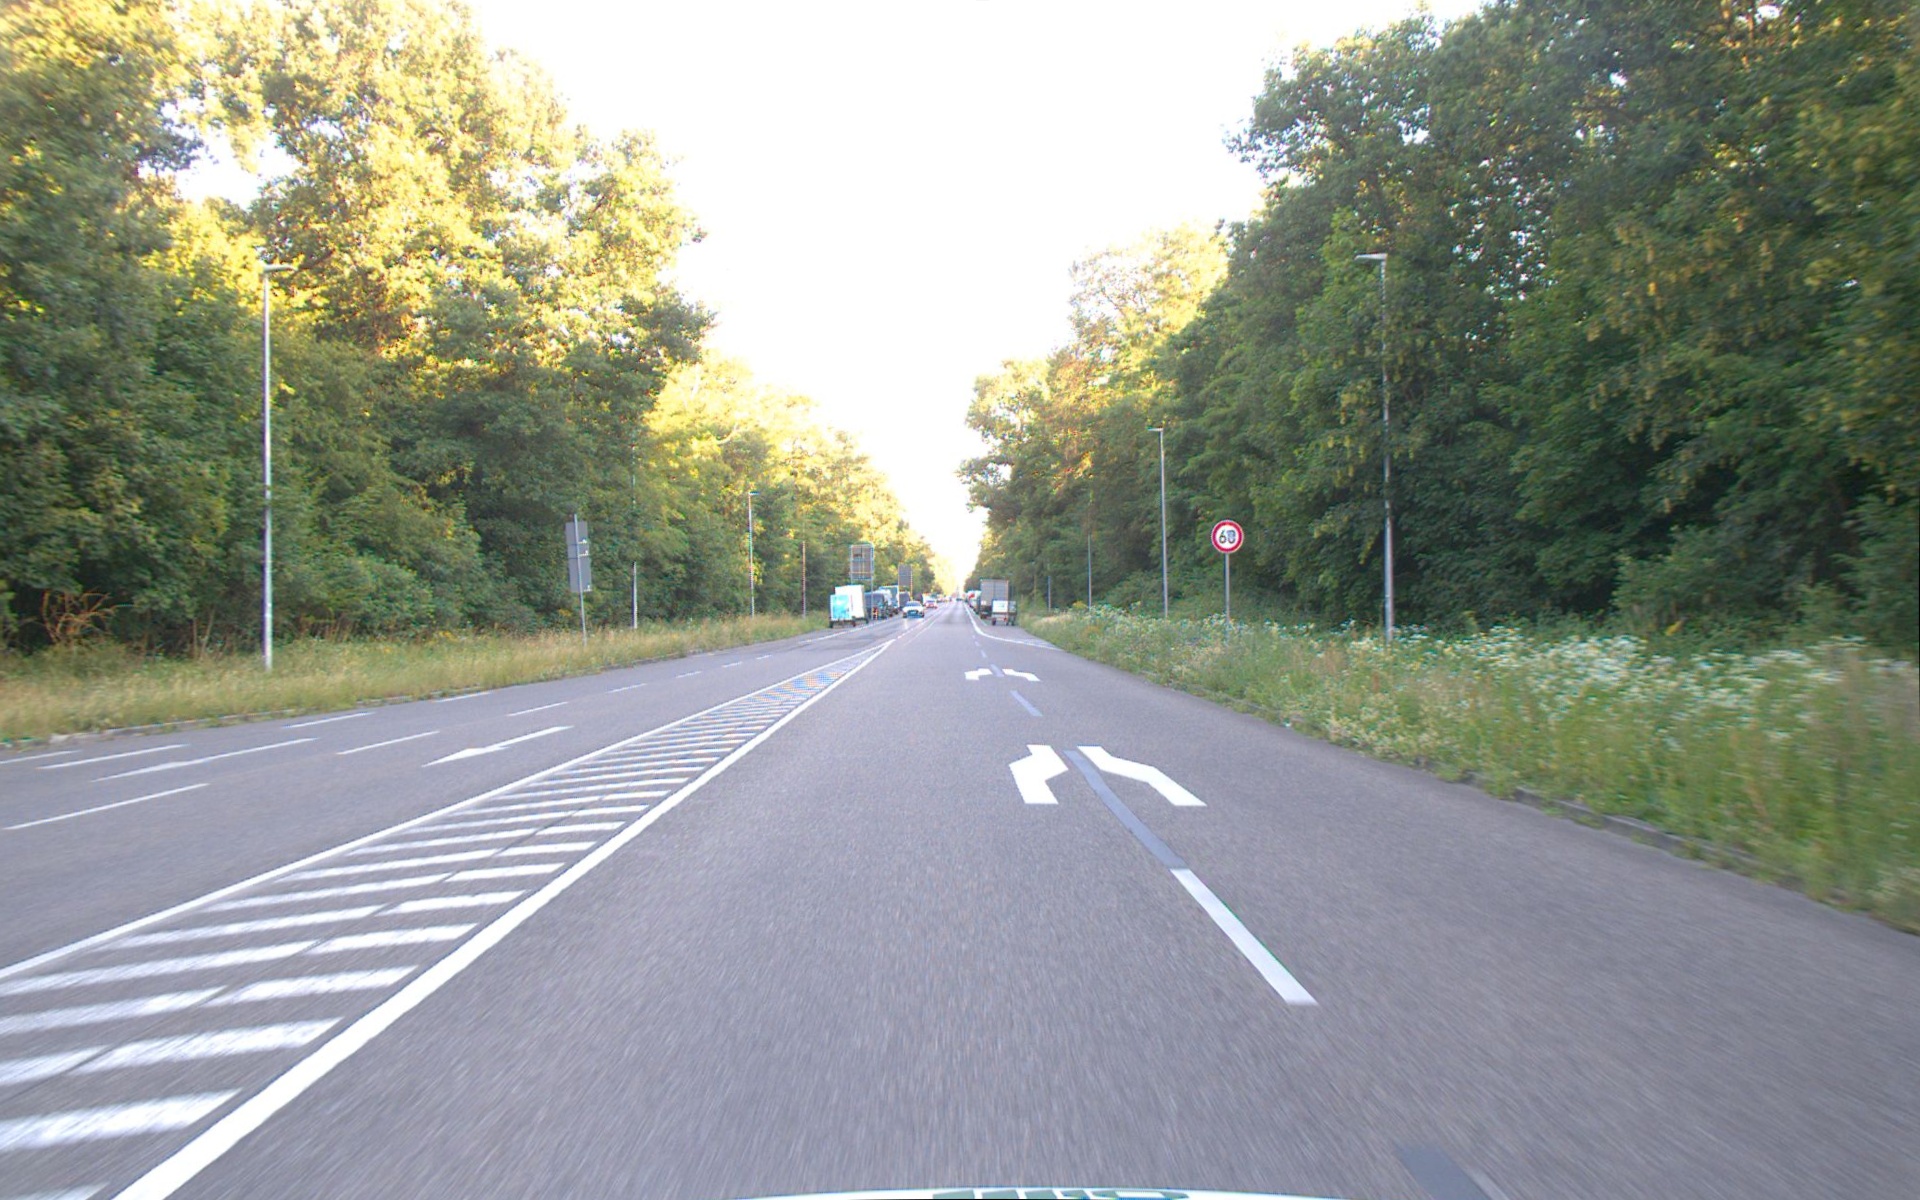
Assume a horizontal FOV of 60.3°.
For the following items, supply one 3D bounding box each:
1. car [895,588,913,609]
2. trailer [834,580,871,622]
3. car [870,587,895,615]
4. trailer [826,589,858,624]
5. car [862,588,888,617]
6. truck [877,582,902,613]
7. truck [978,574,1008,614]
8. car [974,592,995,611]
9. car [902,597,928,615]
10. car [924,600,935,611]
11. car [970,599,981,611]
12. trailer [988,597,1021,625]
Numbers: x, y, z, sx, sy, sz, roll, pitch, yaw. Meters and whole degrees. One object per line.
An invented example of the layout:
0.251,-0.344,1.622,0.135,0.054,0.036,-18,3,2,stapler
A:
-7.658,-0.234,226.694,2.142,2.837,5.334,-2,0,0,car
-7.997,0.052,123.611,2.279,2.975,5.626,-3,0,-1,trailer
-7.764,0.074,166.472,2.203,2.694,5.721,-2,0,0,car
-7.694,0.422,108.002,1.780,2.205,4.142,-2,0,-1,trailer
-7.653,0.236,148.878,1.953,2.405,5.765,-3,0,0,car
-8.146,-0.328,192.046,2.453,3.387,6.841,-2,0,0,truck
2.801,-0.469,140.246,2.535,3.312,7.221,0,0,1,truck
2.595,0.173,174.149,1.953,1.989,4.298,0,0,-2,car
-4.120,0.548,151.943,2.021,1.460,4.467,-4,1,2,car
-4.786,0.841,258.489,1.649,1.512,4.035,-2,0,-3,car
2.001,0.612,213.131,1.125,1.272,2.753,-10,2,-2,car
2.926,0.704,107.891,1.425,1.691,3.780,-2,0,13,trailer
